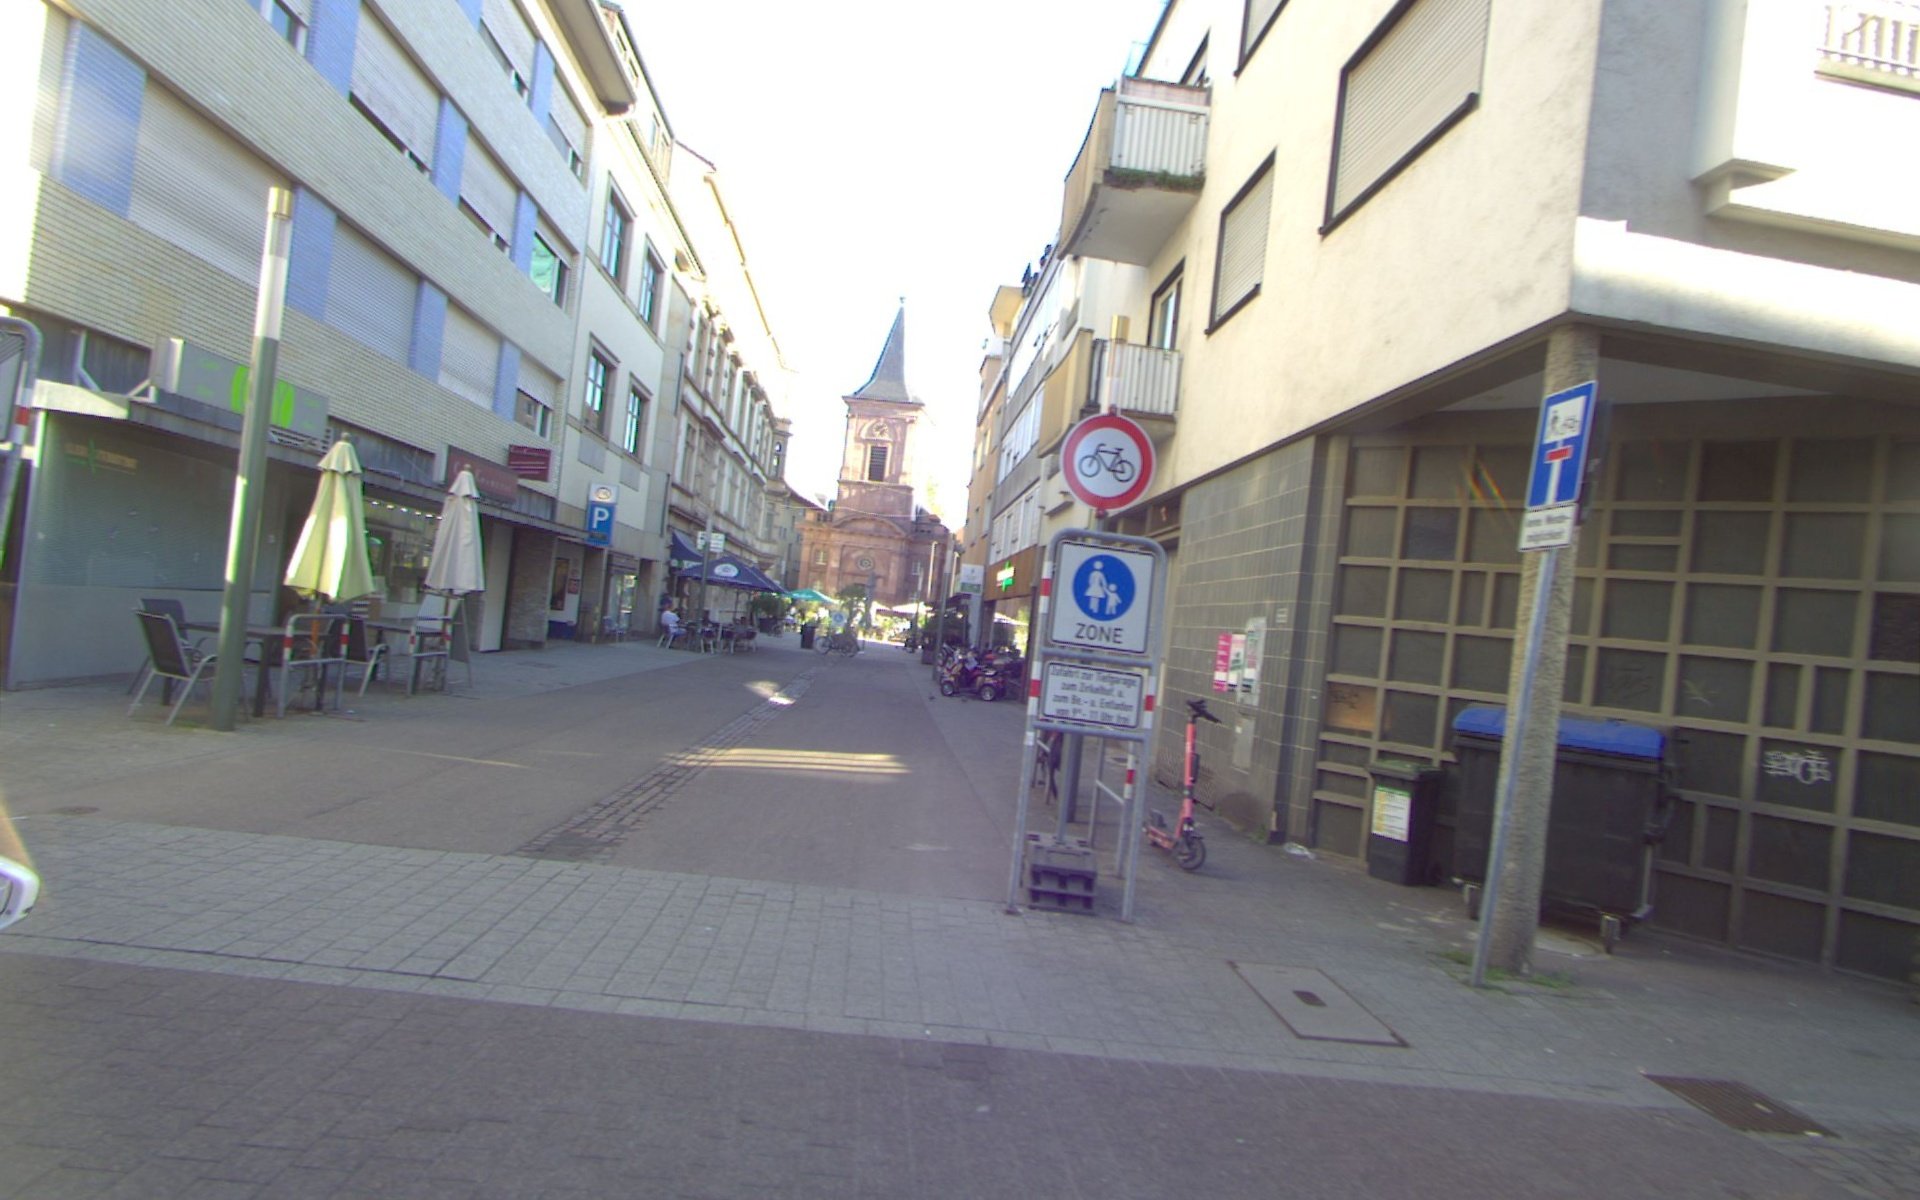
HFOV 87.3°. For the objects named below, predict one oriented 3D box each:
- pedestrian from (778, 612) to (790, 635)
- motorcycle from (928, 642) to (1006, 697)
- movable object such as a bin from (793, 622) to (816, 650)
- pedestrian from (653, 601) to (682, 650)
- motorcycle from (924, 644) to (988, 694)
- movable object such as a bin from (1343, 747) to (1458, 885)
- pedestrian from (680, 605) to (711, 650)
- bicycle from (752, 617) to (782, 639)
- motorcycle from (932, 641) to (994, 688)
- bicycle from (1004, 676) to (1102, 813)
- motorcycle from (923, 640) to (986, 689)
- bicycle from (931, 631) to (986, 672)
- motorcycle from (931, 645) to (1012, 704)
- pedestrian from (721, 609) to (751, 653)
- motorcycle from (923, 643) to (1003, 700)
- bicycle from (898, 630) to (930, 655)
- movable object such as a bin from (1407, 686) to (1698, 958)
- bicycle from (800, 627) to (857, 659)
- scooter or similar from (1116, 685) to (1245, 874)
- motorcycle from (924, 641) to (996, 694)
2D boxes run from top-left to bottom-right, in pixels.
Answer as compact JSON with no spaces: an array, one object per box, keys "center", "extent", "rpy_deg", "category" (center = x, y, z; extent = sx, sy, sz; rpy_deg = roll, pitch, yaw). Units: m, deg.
[{"center":[-11.665,1.556,66.757],"extent":[0.619,1.467,0.795],"rpy_deg":[6,-1,-13],"category":"pedestrian"},{"center":[0.172,1.808,26.161],"extent":[1.877,1.187,0.543],"rpy_deg":[6,-1,27],"category":"motorcycle"},{"center":[-6.824,1.575,44.131],"extent":[0.889,1.137,0.779],"rpy_deg":[6,-1,-8],"category":"movable object such as a bin"},{"center":[-8.674,0.763,29.839],"extent":[0.655,1.371,0.550],"rpy_deg":[6,-1,-11],"category":"pedestrian"},{"center":[-0.116,1.914,28.043],"extent":[1.661,1.187,0.597],"rpy_deg":[7,-1,-1],"category":"motorcycle"},{"center":[3.484,1.676,7.949],"extent":[0.589,0.937,0.604],"rpy_deg":[6,-1,43],"category":"movable object such as a bin"},{"center":[-8.586,0.897,32.680],"extent":[0.750,1.371,0.551],"rpy_deg":[6,0,-2],"category":"pedestrian"},{"center":[-10.012,1.453,52.254],"extent":[1.373,1.015,0.507],"rpy_deg":[6,-1,24],"category":"bicycle"},{"center":[0.088,1.921,29.953],"extent":[1.659,1.187,0.513],"rpy_deg":[7,-1,7],"category":"motorcycle"},{"center":[0.909,1.414,10.294],"extent":[0.669,1.139,1.895],"rpy_deg":[6,-2,-1],"category":"bicycle"},{"center":[-0.149,1.859,28.956],"extent":[1.660,1.187,0.513],"rpy_deg":[7,-1,0],"category":"motorcycle"},{"center":[-0.063,2.093,40.613],"extent":[2.100,1.361,0.591],"rpy_deg":[7,-9,-1],"category":"bicycle"},{"center":[0.290,1.783,24.204],"extent":[1.669,1.168,0.793],"rpy_deg":[6,-1,17],"category":"motorcycle"},{"center":[-7.554,1.047,33.904],"extent":[0.750,1.371,0.551],"rpy_deg":[6,0,-2],"category":"pedestrian"},{"center":[0.066,1.795,25.295],"extent":[1.870,1.187,0.628],"rpy_deg":[6,-1,34],"category":"motorcycle"},{"center":[-2.443,2.283,53.315],"extent":[0.403,1.168,1.813],"rpy_deg":[6,-1,42],"category":"bicycle"},{"center":[4.106,1.439,6.986],"extent":[1.416,1.480,1.123],"rpy_deg":[6,-1,43],"category":"movable object such as a bin"},{"center":[-5.303,1.749,40.713],"extent":[2.129,0.995,0.816],"rpy_deg":[8,-1,-2],"category":"bicycle"},{"center":[1.675,1.343,7.798],"extent":[0.489,1.238,1.162],"rpy_deg":[6,-1,-7],"category":"scooter or similar"},{"center":[0.001,1.812,27.177],"extent":[1.750,1.187,0.555],"rpy_deg":[7,-1,14],"category":"motorcycle"}]
